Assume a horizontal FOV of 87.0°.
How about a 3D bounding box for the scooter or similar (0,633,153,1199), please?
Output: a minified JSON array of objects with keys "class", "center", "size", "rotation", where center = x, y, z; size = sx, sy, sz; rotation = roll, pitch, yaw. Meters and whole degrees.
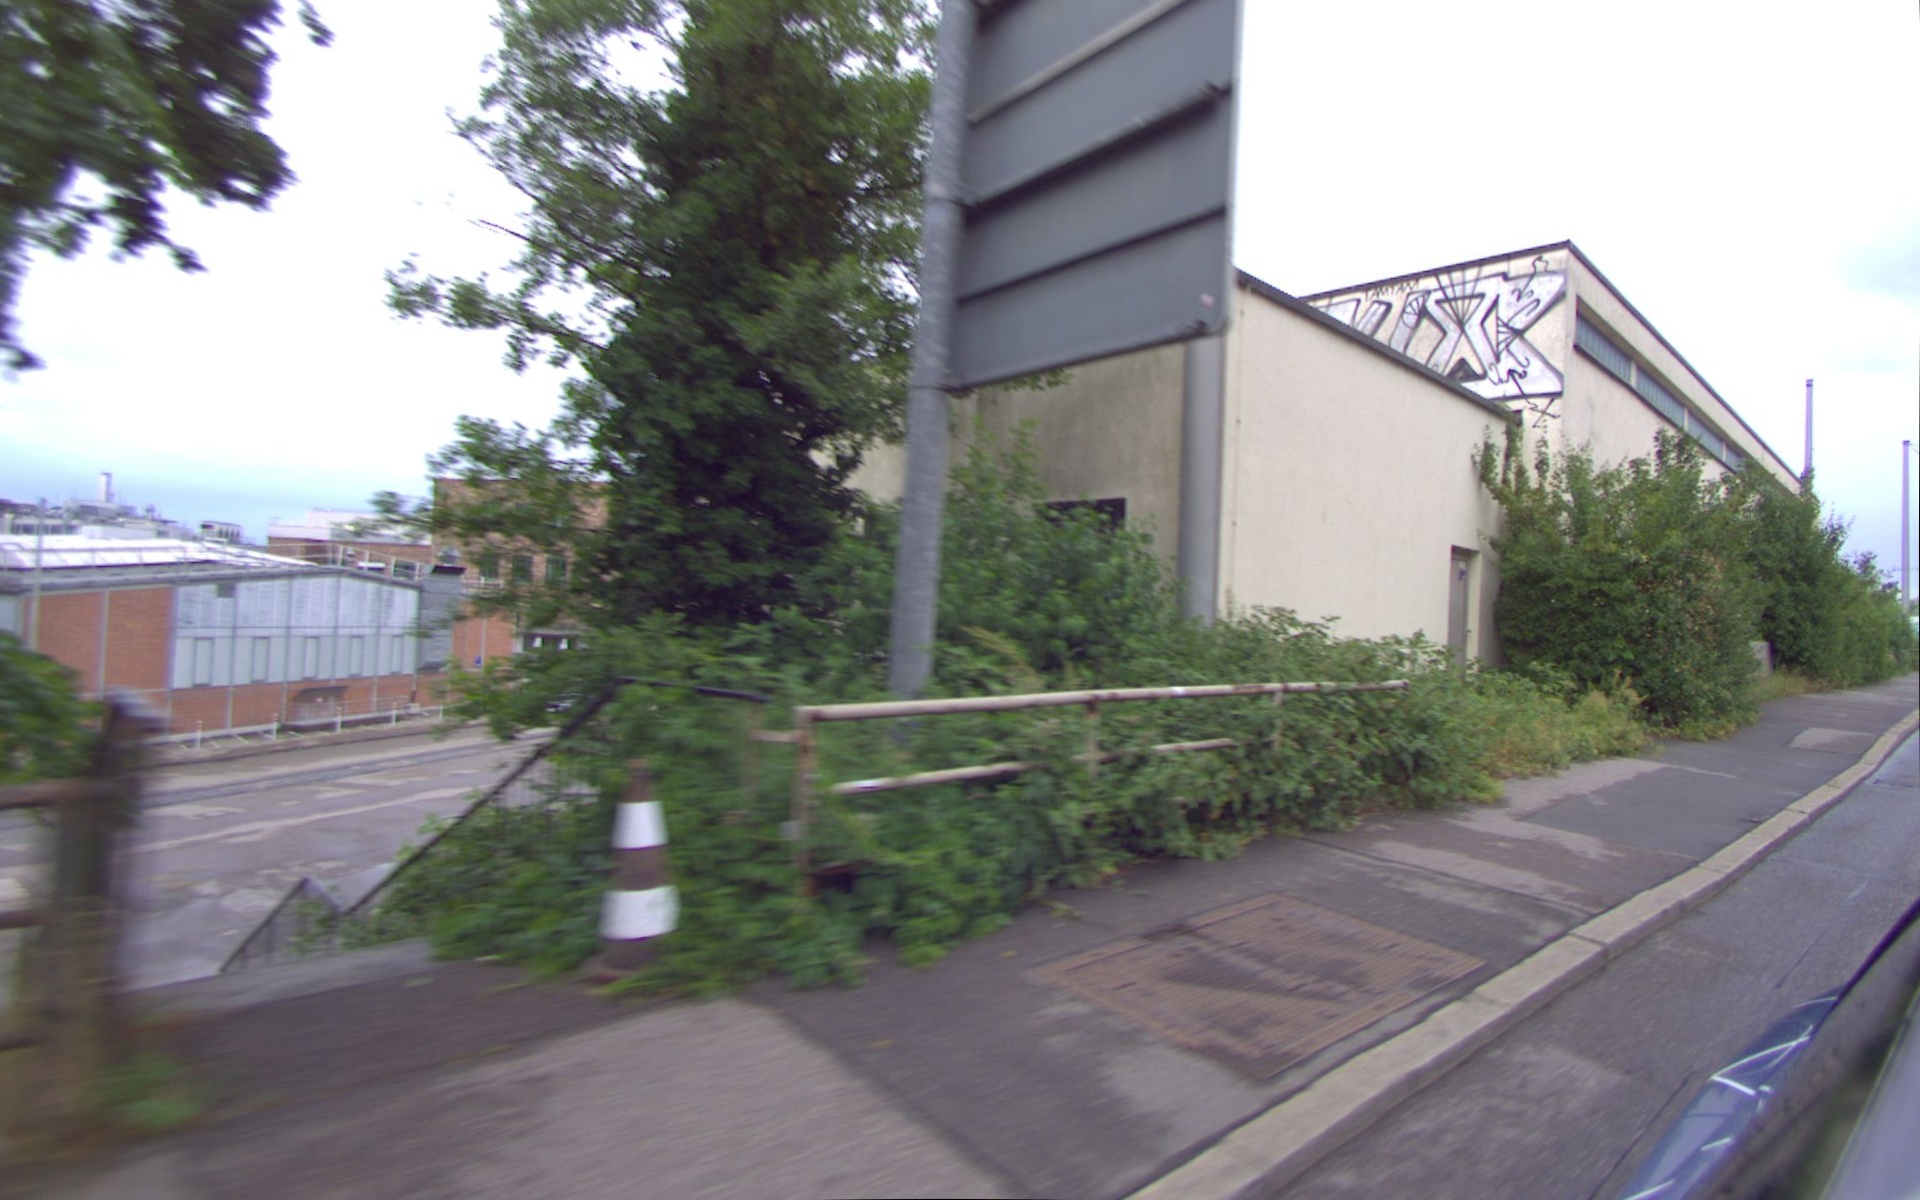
[{"class":"scooter or similar","center":[-2.439,0.680,1.872],"size":[1.441,1.224,0.574],"rotation":[2,-2,-40]}]
